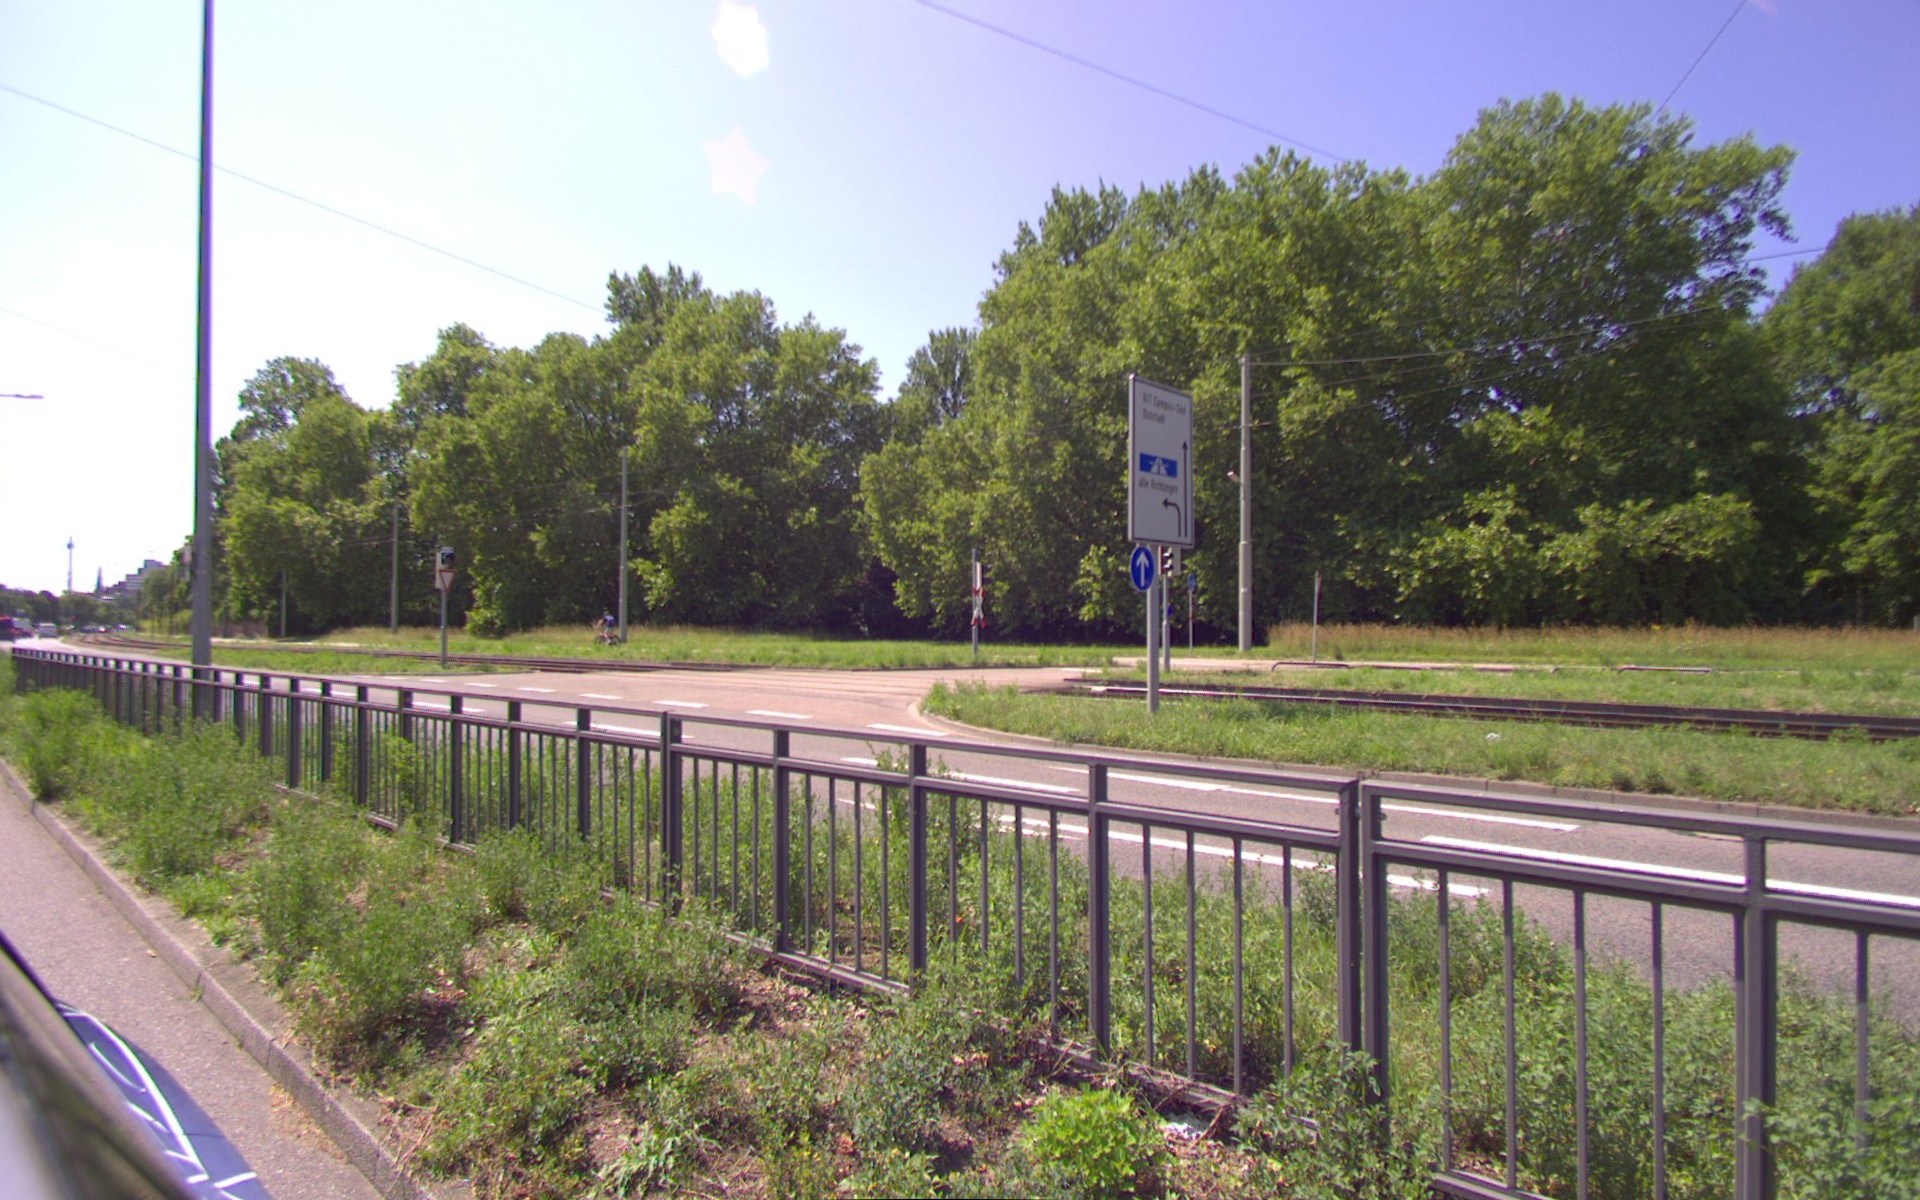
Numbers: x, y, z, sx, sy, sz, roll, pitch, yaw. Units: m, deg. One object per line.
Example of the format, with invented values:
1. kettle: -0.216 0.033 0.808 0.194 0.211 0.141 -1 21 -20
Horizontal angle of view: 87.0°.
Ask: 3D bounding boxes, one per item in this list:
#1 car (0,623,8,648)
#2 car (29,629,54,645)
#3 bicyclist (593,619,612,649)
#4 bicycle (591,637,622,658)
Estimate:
1. car: -91.636 3.340 95.617 5.372 2.384 1.972 -2 -3 43
2. car: -120.645 4.894 132.927 5.029 2.029 1.972 -2 -4 43
3. bicyclist: -16.218 1.539 45.885 0.679 1.346 0.503 -1 -2 36
4. bicycle: -16.074 2.142 46.005 1.563 0.908 0.503 -1 -2 36
